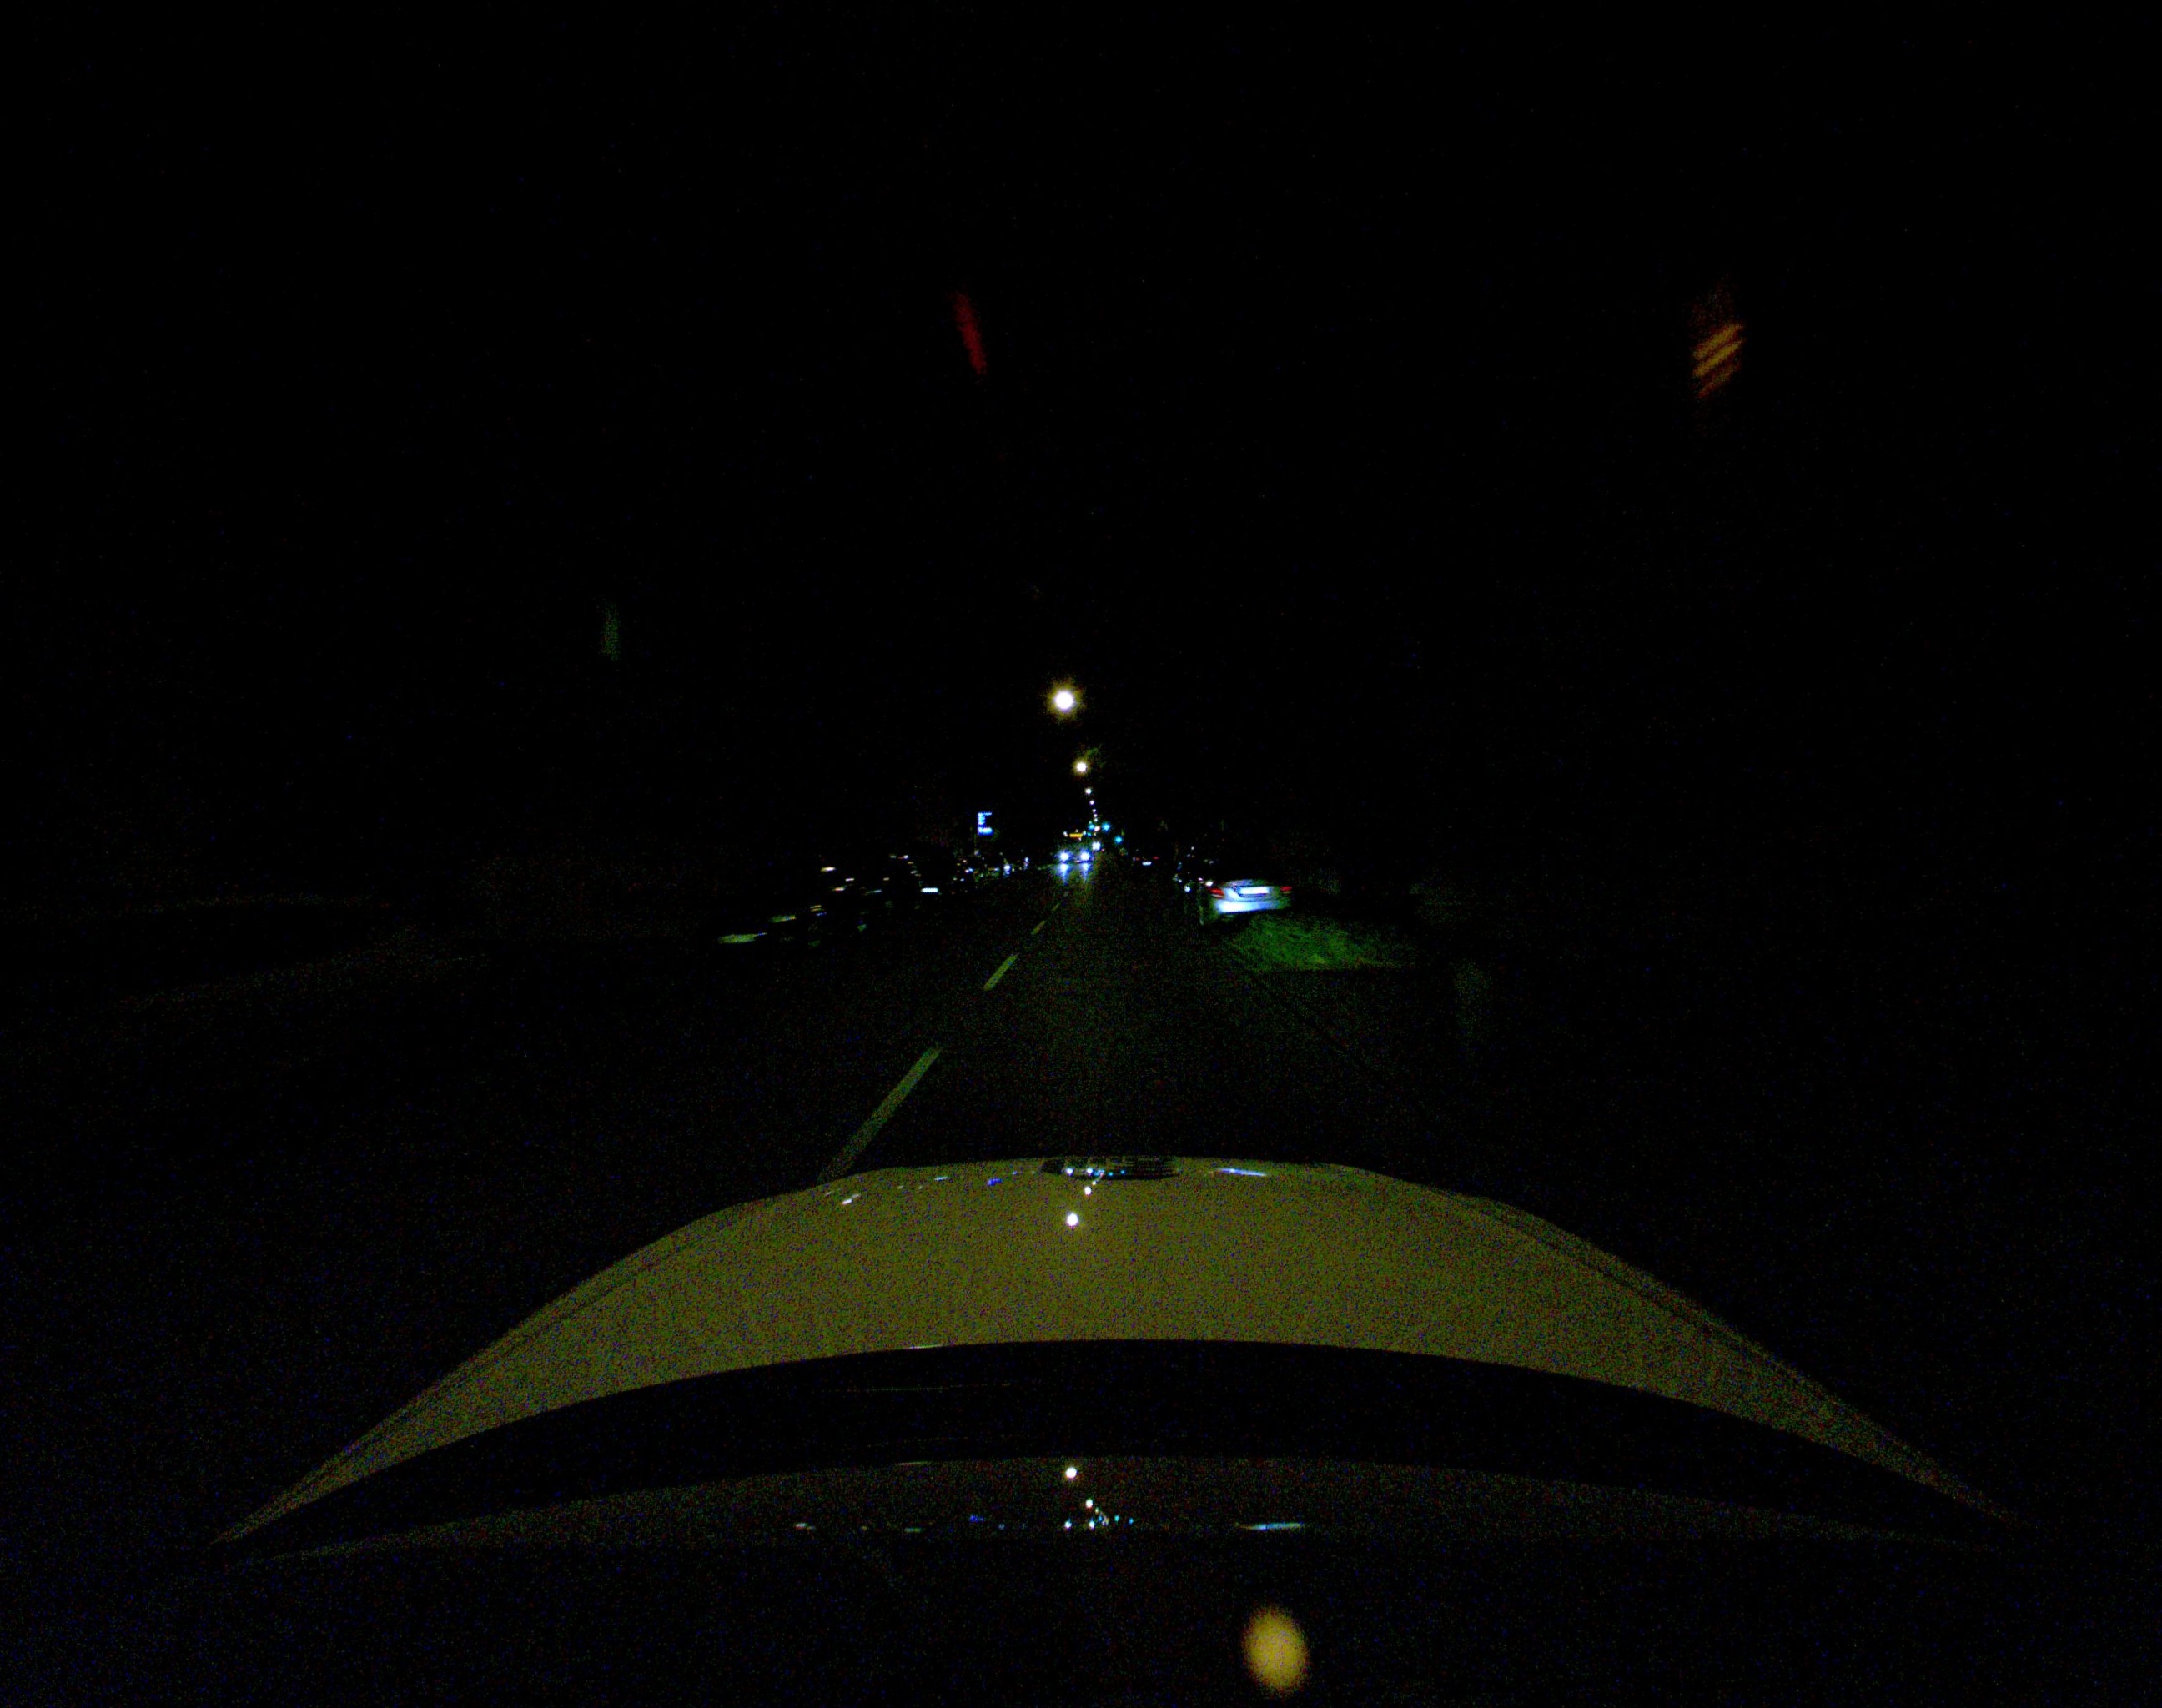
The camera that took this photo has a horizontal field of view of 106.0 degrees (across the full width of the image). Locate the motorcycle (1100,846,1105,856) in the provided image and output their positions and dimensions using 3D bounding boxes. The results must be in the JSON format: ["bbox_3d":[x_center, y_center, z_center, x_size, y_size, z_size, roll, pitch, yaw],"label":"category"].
[{"bbox_3d":[3.804,-0.495,146.161,0.927,1.752,2.626,0,0,2],"label":"motorcycle"}]

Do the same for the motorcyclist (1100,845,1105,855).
[{"bbox_3d":[3.803,-0.657,146.258,0.845,1.752,0.806,0,-1,1],"label":"motorcyclist"}]

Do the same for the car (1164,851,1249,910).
[{"bbox_3d":[3.409,0.662,22.757,1.765,1.448,4.020,-2,0,1],"label":"car"}]

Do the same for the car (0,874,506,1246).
[{"bbox_3d":[-5.452,0.918,4.232,1.808,1.484,4.347,-1,0,0],"label":"car"}]

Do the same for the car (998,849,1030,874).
[{"bbox_3d":[-4.306,0.465,52.465,1.632,1.498,2.767,-1,0,3],"label":"car"}]

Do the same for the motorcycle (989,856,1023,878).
[{"bbox_3d":[-4.149,0.724,44.950,0.720,1.147,2.182,-2,1,-41],"label":"motorcycle"}]

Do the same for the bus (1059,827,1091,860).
[{"bbox_3d":[-0.511,-1.068,83.335,2.827,3.177,10.503,0,1,2],"label":"bus"}]

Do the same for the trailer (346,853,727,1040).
[{"bbox_3d":[-5.596,0.825,8.942,1.629,1.639,3.445,0,0,6],"label":"trailer"}]

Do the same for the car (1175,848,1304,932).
[{"bbox_3d":[3.203,0.675,17.383,1.839,1.417,4.646,-4,0,1],"label":"car"}]

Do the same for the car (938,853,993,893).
[{"bbox_3d":[-4.613,0.729,32.971,1.616,1.491,3.781,0,0,1],"label":"car"}]

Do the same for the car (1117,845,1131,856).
[{"bbox_3d":[6.179,-0.530,117.997,1.862,1.526,4.151,-3,1,2],"label":"car"}]

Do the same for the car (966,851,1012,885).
[{"bbox_3d":[-4.531,0.654,40.711,1.698,1.491,4.228,-3,1,1],"label":"car"}]

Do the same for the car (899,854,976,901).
[{"bbox_3d":[-4.857,0.770,28.171,1.857,1.491,4.280,0,0,1],"label":"car"}]

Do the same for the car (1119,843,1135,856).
[{"bbox_3d":[5.893,-0.611,104.664,1.805,1.594,4.275,-3,1,2],"label":"car"}]

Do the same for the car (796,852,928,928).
[{"bbox_3d":[-5.147,0.771,19.833,1.828,1.619,4.547,0,0,2],"label":"car"}]

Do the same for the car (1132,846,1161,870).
[{"bbox_3d":[4.434,0.257,55.823,1.756,1.476,4.082,-3,1,2],"label":"car"}]

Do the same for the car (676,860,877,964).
[{"bbox_3d":[-5.203,0.897,14.663,1.829,1.446,4.545,-1,1,0],"label":"car"}]

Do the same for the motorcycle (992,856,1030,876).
[{"bbox_3d":[-4.041,0.710,46.968,2.180,1.131,0.720,-1,1,34],"label":"motorcycle"}]
